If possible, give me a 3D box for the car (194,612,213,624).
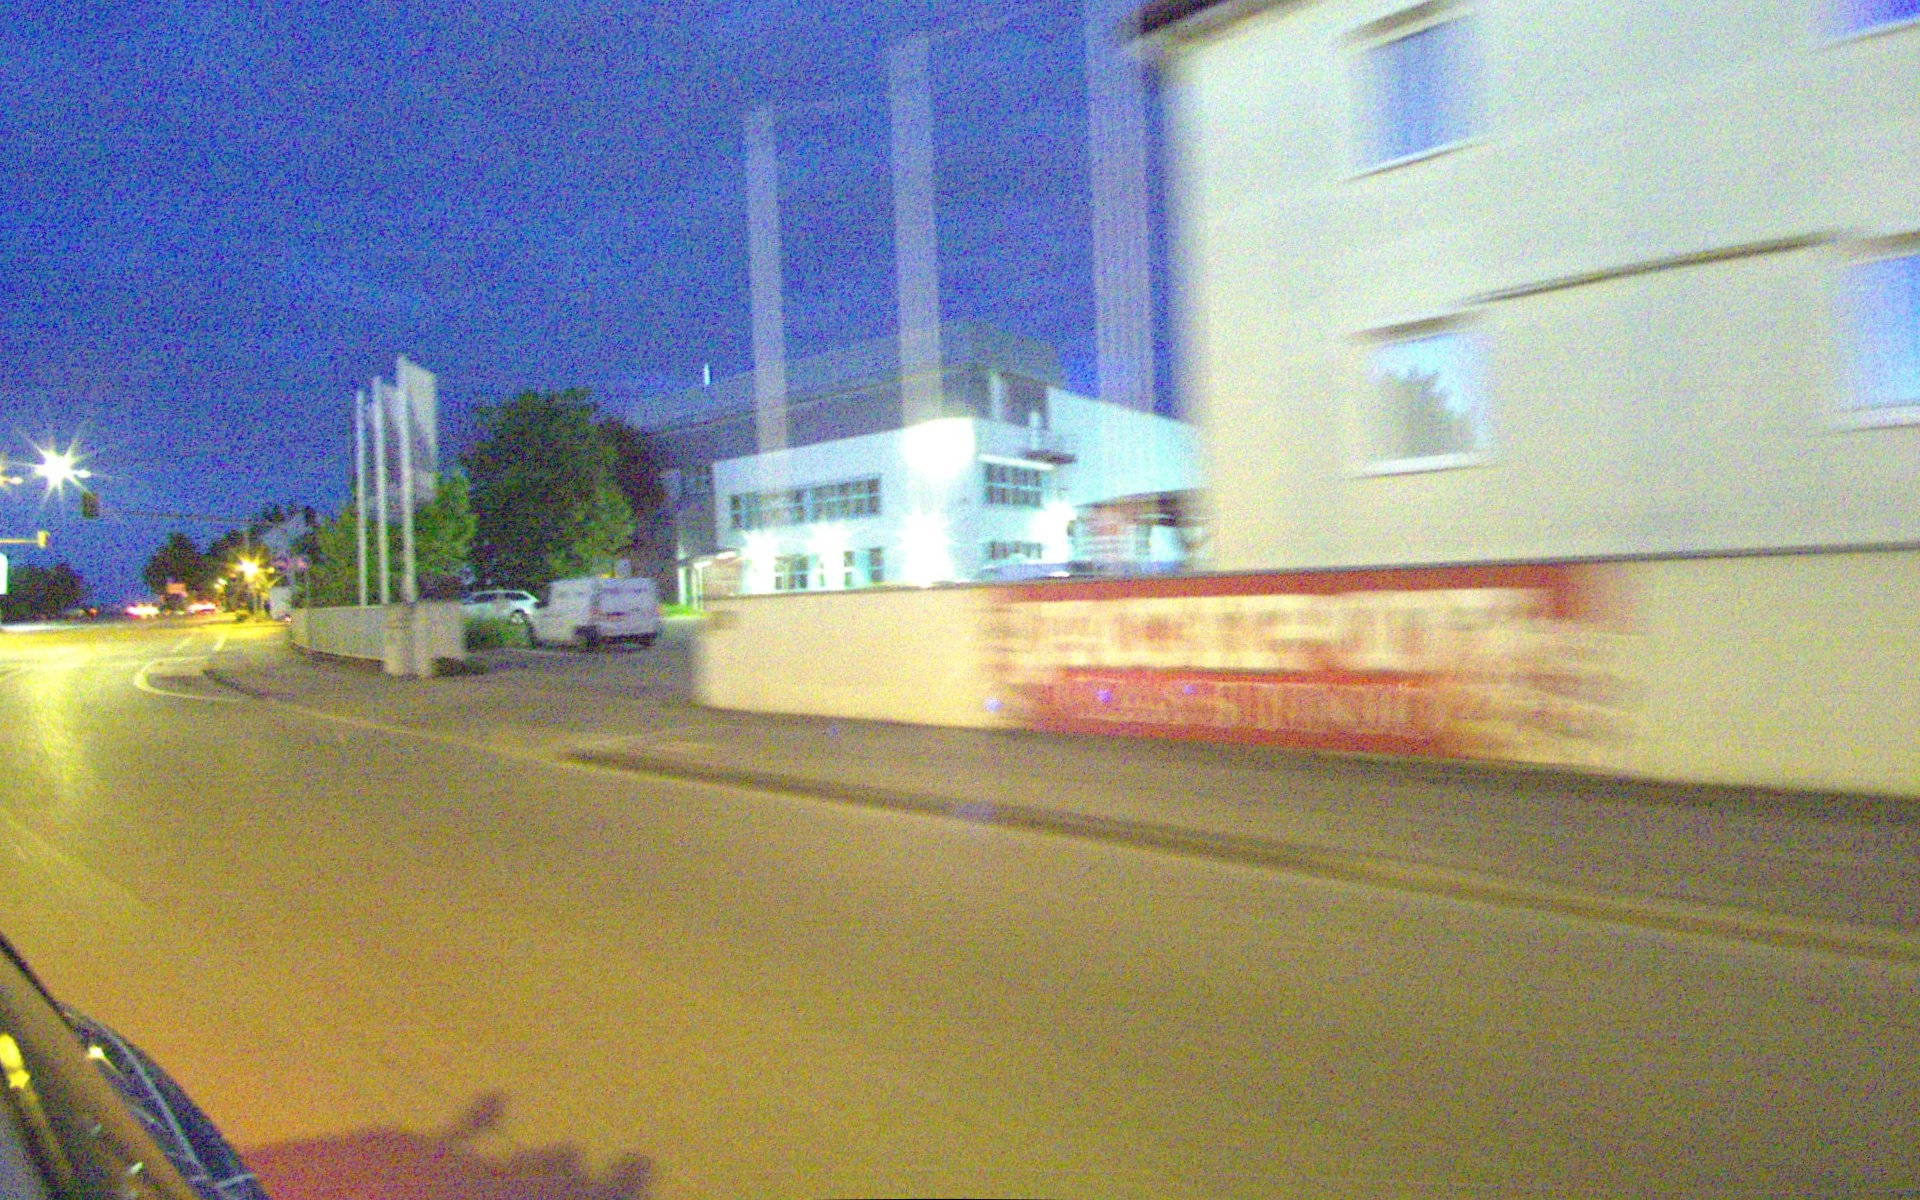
[{"bbox_3d":[-99.981,2.396,133.724,1.825,1.456,4.926,-2,1,-38],"label":"car"}]

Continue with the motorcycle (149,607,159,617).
[{"bbox_3d":[-116.984,1.758,146.923,0.985,1.314,2.830,-2,1,-42],"label":"motorcycle"}]

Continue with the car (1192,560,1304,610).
[{"bbox_3d":[13.736,-0.664,48.374,4.784,2.262,1.863,-1,-1,38],"label":"car"}]

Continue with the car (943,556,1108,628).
[{"bbox_3d":[1.975,-0.223,31.050,4.678,2.029,1.976,-1,1,36],"label":"car"}]

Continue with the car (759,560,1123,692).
[{"bbox_3d":[-0.305,0.343,13.406,4.508,1.505,1.816,-2,0,29],"label":"car"}]

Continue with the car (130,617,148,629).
[{"bbox_3d":[-131.845,3.698,162.605,1.967,1.639,4.763,-2,1,-36],"label":"car"}]

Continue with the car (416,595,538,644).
[{"bbox_3d":[-19.893,0.764,41.777,4.079,1.785,2.001,-3,1,-45],"label":"car"}]

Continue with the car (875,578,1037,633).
[{"bbox_3d":[-0.176,0.169,29.467,4.612,1.475,1.823,-1,1,39],"label":"car"}]

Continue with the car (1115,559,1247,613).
[{"bbox_3d":[8.766,-0.508,40.346,4.784,2.029,1.863,-1,-1,38],"label":"car"}]

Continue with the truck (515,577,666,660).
[{"bbox_3d":[-9.860,0.450,26.731,1.969,1.914,5.325,-3,1,-40],"label":"truck"}]

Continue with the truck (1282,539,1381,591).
[{"bbox_3d":[19.802,-1.853,54.009,4.523,2.558,1.973,-1,1,42],"label":"truck"}]

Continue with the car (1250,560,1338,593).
[{"bbox_3d":[17.477,-1.207,53.040,1.712,1.586,4.002,0,-1,-45],"label":"car"}]

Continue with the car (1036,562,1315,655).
[{"bbox_3d":[4.040,0.169,19.517,4.949,1.592,1.811,-1,1,38],"label":"car"}]

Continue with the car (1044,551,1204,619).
[{"bbox_3d":[5.918,-0.519,36.864,5.398,2.252,2.003,-1,1,36],"label":"car"}]

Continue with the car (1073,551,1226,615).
[{"bbox_3d":[7.180,-0.613,38.646,5.398,2.252,2.003,-1,1,36],"label":"car"}]

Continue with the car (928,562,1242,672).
[{"bbox_3d":[1.898,0.283,15.839,4.512,1.505,1.814,-2,0,32],"label":"car"}]

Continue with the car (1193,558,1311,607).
[{"bbox_3d":[13.183,-0.731,45.854,4.784,2.068,1.863,-1,-1,38],"label":"car"}]

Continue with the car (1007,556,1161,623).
[{"bbox_3d":[4.020,-0.339,33.804,2.219,2.019,5.426,-2,1,-30],"label":"car"}]

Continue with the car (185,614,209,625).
[{"bbox_3d":[-104.267,2.643,138.258,1.971,1.390,4.601,-3,1,-45],"label":"car"}]

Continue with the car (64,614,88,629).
[{"bbox_3d":[-99.078,2.405,113.378,1.911,1.563,4.005,-3,1,-42],"label":"car"}]

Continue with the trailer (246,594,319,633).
[{"bbox_3d":[-48.926,0.961,73.068,4.291,2.741,2.005,0,-1,-37],"label":"trailer"}]

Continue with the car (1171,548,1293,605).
[{"bbox_3d":[11.749,-0.956,43.890,4.784,2.262,1.863,-1,-1,38],"label":"car"}]
